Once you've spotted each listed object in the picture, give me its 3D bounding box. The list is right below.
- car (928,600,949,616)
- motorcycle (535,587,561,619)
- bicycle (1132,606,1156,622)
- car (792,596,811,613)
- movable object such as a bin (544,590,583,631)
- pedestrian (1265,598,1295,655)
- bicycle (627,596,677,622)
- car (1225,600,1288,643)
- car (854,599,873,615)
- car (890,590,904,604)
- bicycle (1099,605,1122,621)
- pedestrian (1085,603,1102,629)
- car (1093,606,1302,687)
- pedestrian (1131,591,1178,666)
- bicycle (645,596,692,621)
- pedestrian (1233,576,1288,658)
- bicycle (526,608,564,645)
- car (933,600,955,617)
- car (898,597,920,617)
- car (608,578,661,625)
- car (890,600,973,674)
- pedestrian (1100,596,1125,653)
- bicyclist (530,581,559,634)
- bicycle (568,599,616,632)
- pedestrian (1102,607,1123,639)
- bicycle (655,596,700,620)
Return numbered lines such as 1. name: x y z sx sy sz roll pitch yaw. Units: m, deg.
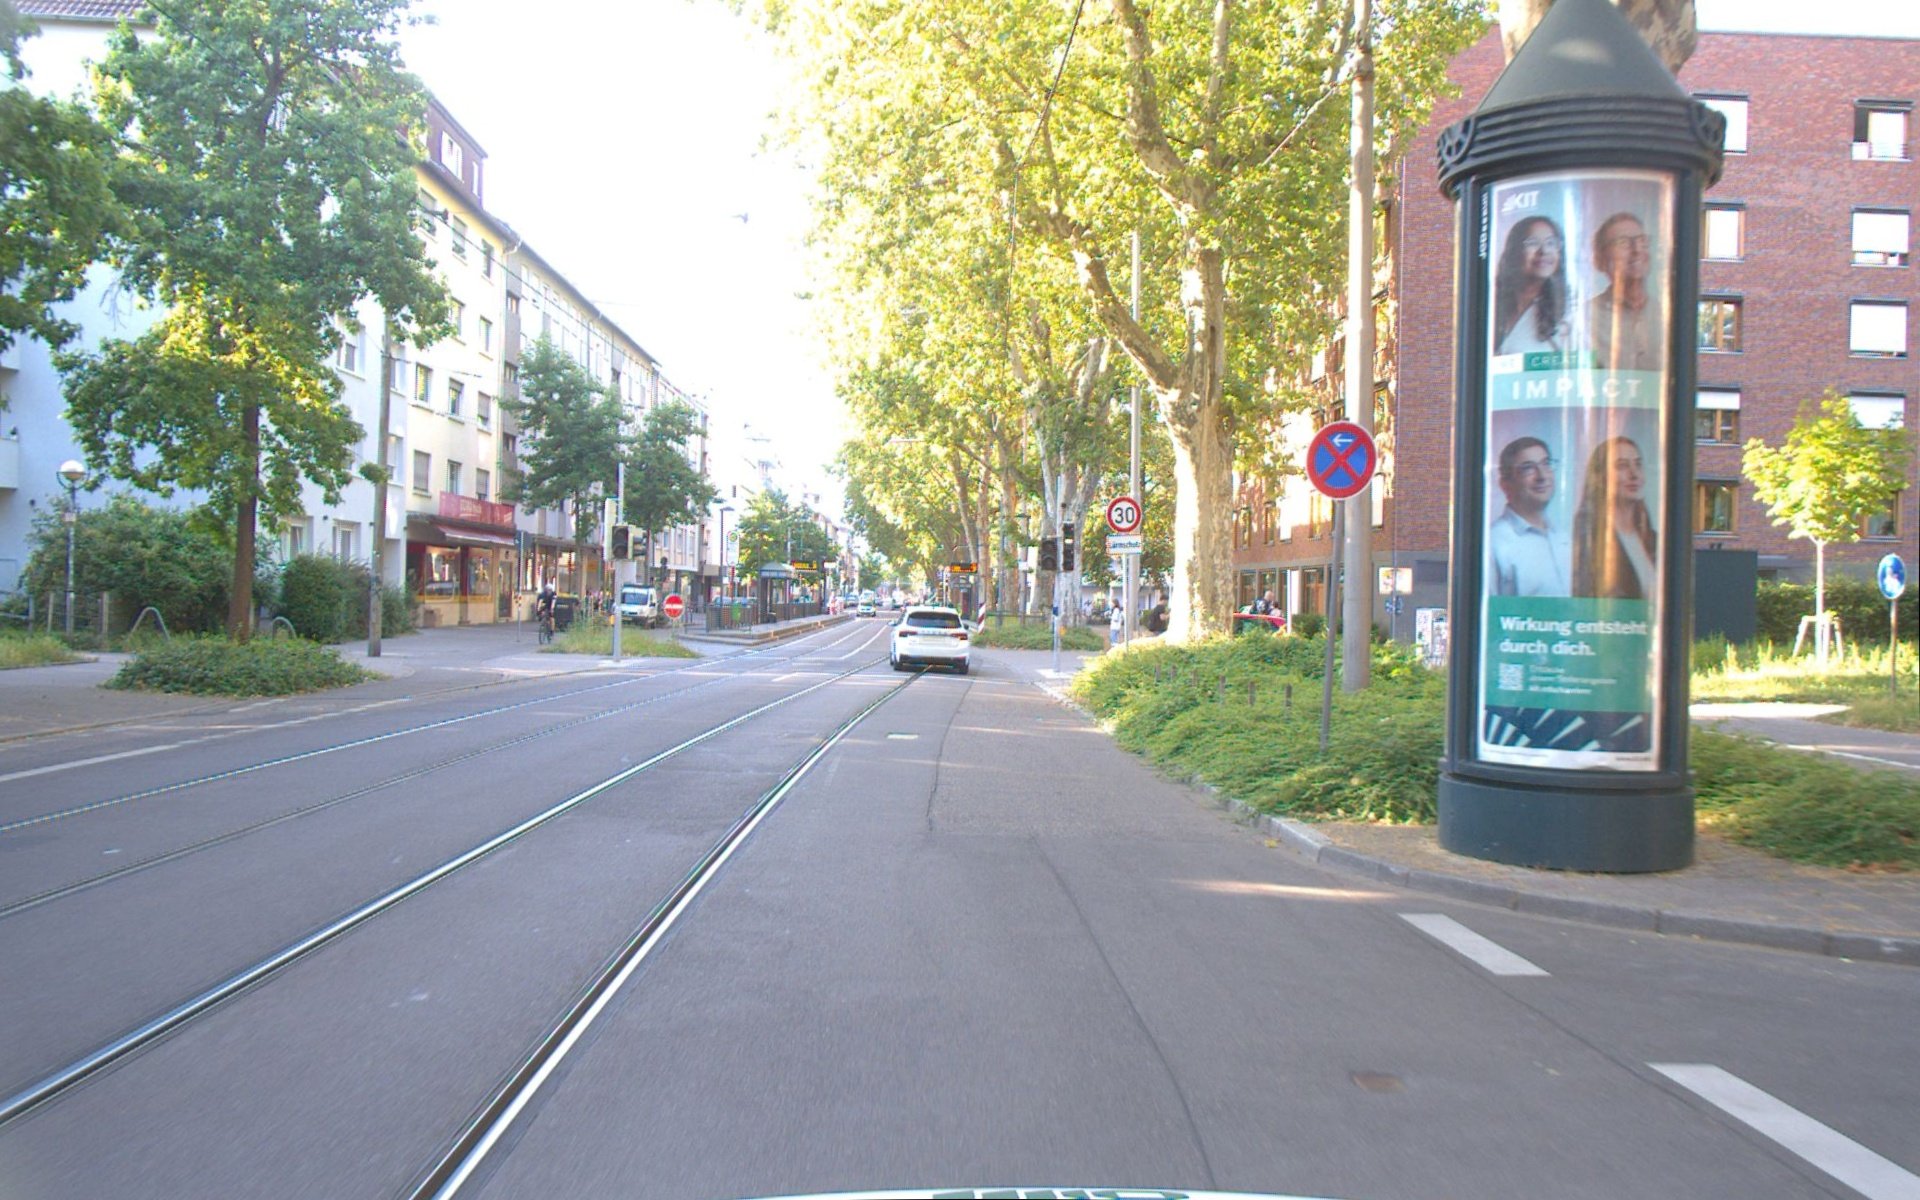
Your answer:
1. car: -2.100 0.772 159.391 1.953 1.478 3.998 1 0 -2
2. motorcycle: -17.798 0.135 71.478 0.587 1.334 2.221 1 0 -2
3. bicycle: 12.473 0.917 111.912 1.533 1.055 0.479 1 0 19
4. car: -16.415 0.438 171.421 1.644 1.575 3.998 3 0 -2
5. movable object such as a bin: -14.249 0.377 59.431 1.147 1.371 0.782 5 -1 -6
6. pedestrian: 9.729 0.799 50.330 0.721 1.698 0.834 1 0 -3
7. bicycle: -14.630 0.419 78.641 2.207 1.092 0.636 4 0 -1
8. car: 11.026 0.777 61.722 1.568 1.521 3.415 1 0 -3
9. car: -9.075 0.678 155.471 1.659 1.444 3.998 1 0 -2
10. car: -8.981 -0.432 236.282 1.828 1.925 3.998 1 0 -2
11. bicycle: 10.252 0.912 112.678 1.533 1.055 0.504 1 0 19
12. pedestrian: 8.676 1.008 107.357 0.952 1.652 0.887 1 0 -2
13. car: 4.512 0.871 31.818 3.804 1.448 1.648 1 0 1
14. pedestrian: 4.848 0.710 41.260 0.975 1.843 0.863 1 0 -7
15. bicycle: -14.817 0.415 83.981 2.207 1.092 0.636 4 0 -1
16. pedestrian: 7.231 0.400 39.819 0.964 1.896 1.014 -2 0 -7
17. bicycle: -11.797 0.730 47.012 0.628 1.004 2.100 0 0 -2
18. car: -1.546 0.776 154.324 1.953 1.478 3.998 1 0 -2
19. car: -4.054 0.523 131.562 1.752 1.540 3.998 1 0 -2
20. car: -14.263 0.062 72.622 1.654 1.974 3.998 1 0 -2
21. car: -0.677 0.791 37.552 1.752 1.540 3.998 1 0 -2
22. pedestrian: 4.608 0.719 49.882 0.639 1.698 0.737 1 0 -3
23. bicyclist: -11.803 0.214 47.022 0.628 1.480 0.836 0 0 -3
24. bicycle: -13.681 0.568 61.523 1.503 1.093 0.885 4 0 -3
25. pedestrian: 8.028 1.227 86.946 0.952 1.652 0.887 1 0 -2
26. bicycle: -14.935 0.433 87.555 2.207 1.092 0.636 4 0 -1
